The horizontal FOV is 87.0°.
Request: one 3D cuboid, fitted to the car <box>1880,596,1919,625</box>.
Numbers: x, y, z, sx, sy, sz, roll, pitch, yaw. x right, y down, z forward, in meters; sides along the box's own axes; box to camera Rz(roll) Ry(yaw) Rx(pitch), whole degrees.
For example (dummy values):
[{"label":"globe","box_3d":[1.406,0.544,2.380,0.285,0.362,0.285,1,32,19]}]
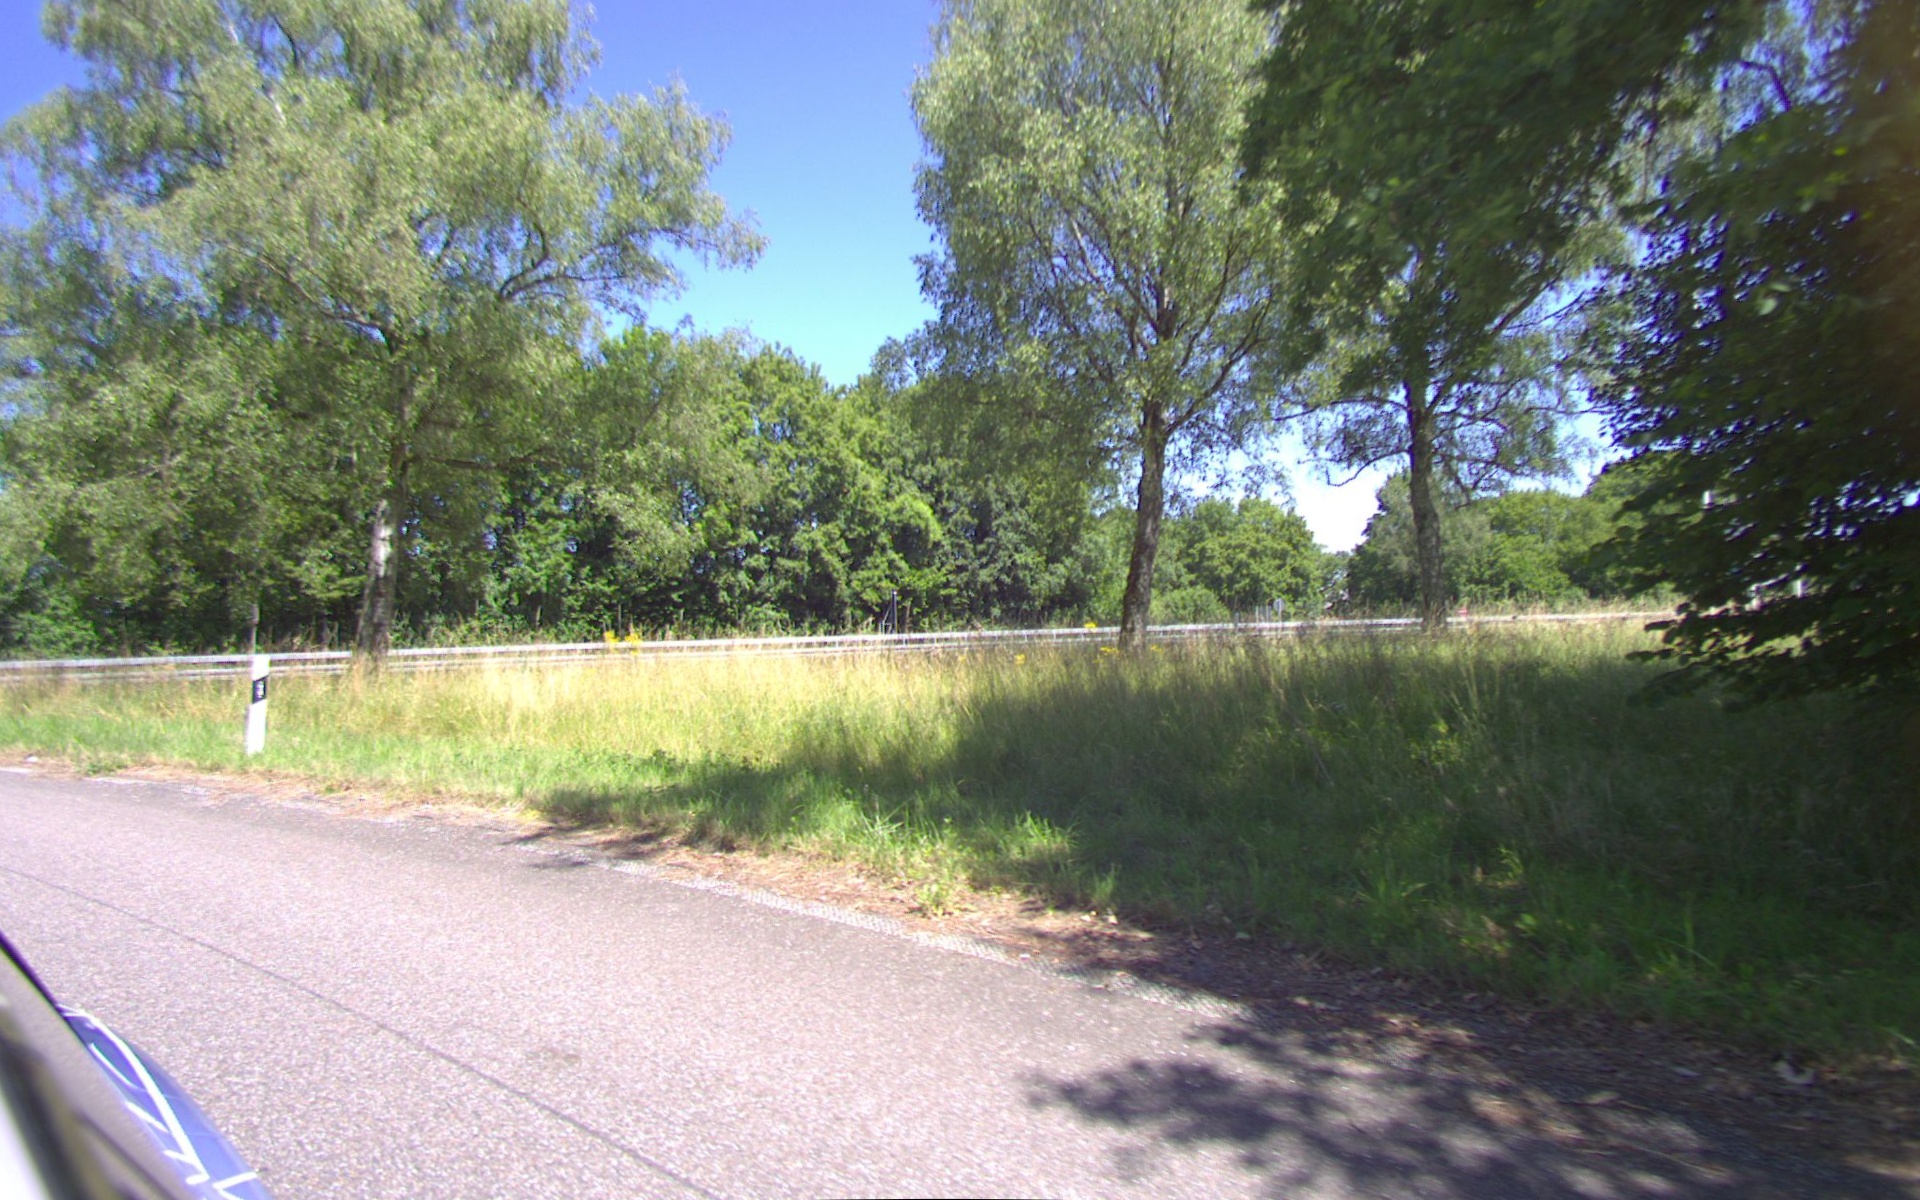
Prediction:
[{"label":"car","box_3d":[55.285,0.602,58.822,3.528,1.512,1.523,0,-5,-30]}]
